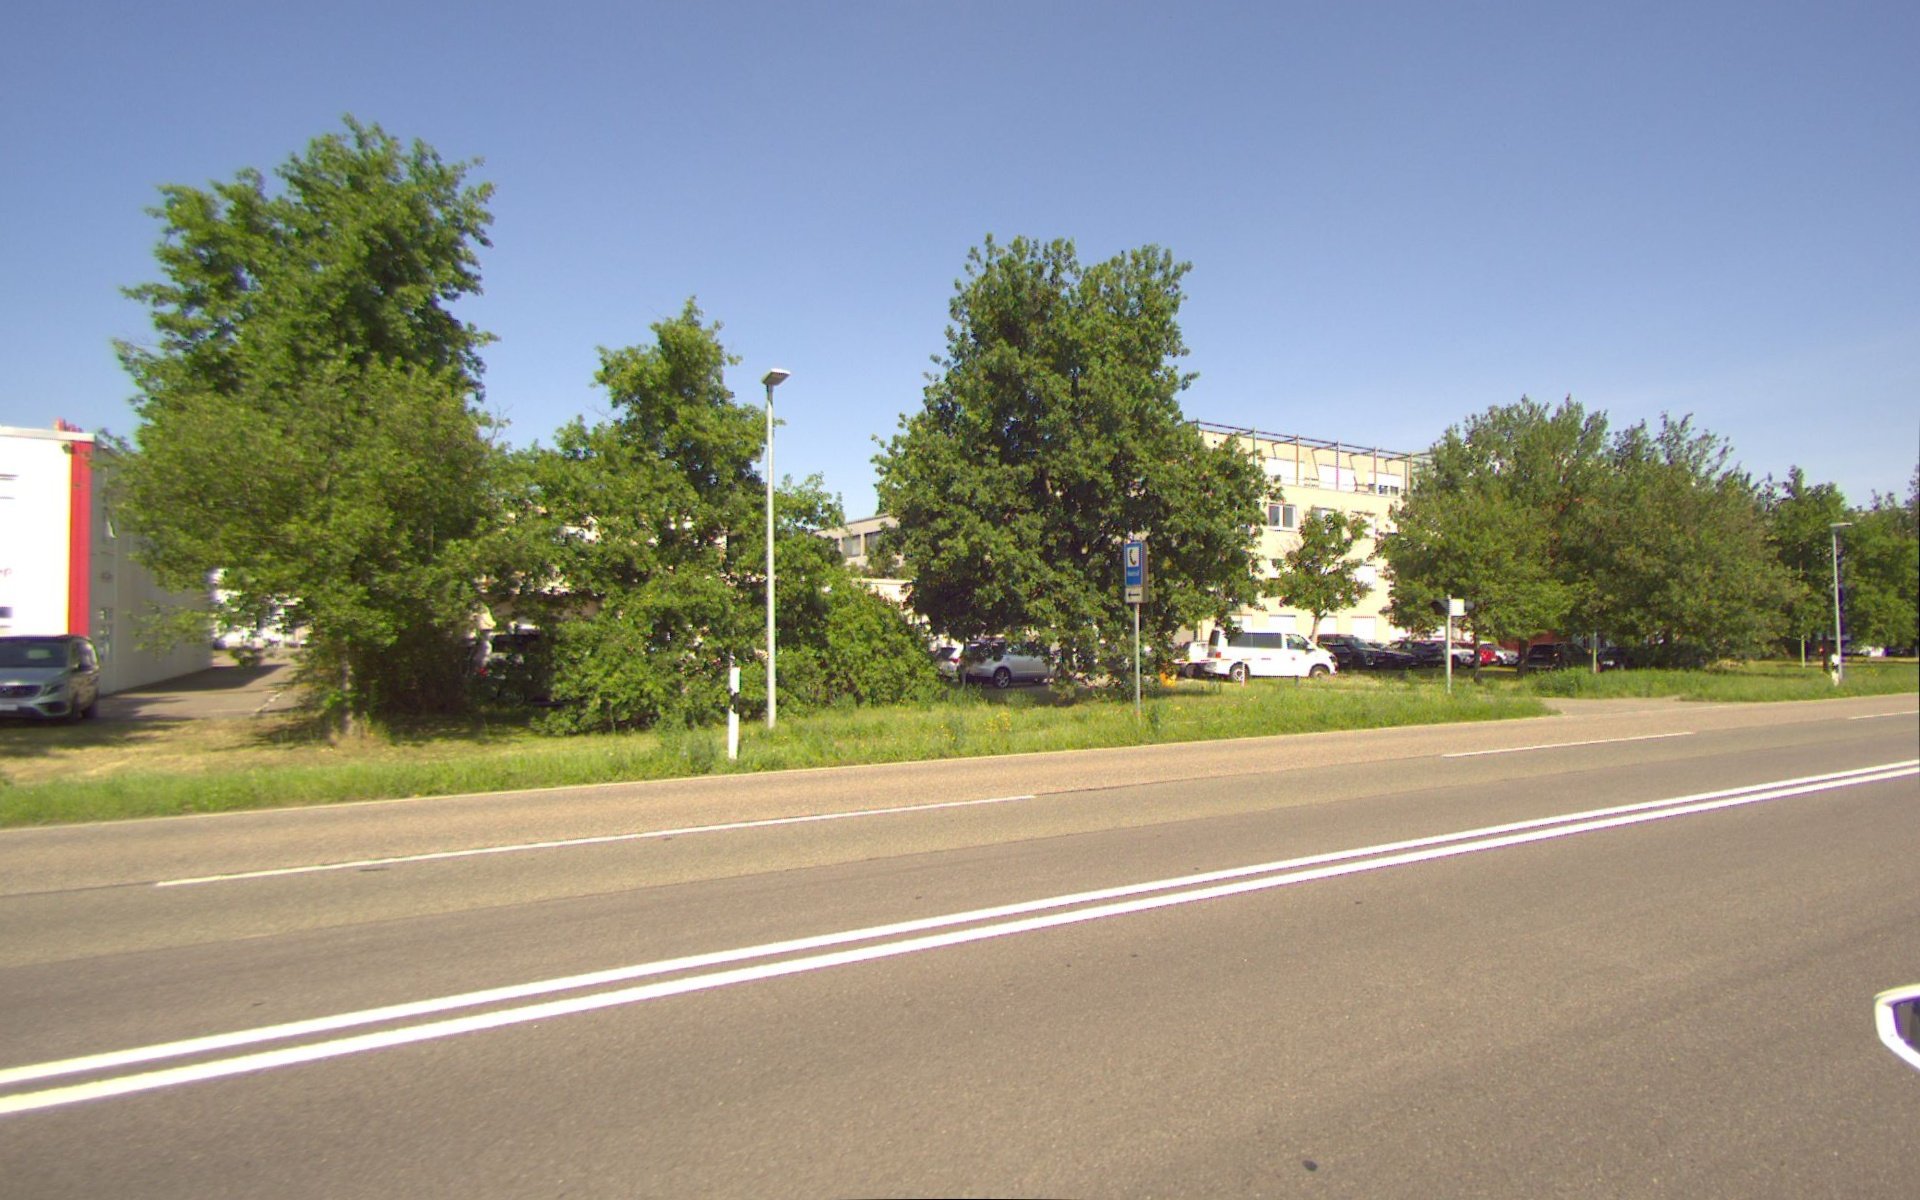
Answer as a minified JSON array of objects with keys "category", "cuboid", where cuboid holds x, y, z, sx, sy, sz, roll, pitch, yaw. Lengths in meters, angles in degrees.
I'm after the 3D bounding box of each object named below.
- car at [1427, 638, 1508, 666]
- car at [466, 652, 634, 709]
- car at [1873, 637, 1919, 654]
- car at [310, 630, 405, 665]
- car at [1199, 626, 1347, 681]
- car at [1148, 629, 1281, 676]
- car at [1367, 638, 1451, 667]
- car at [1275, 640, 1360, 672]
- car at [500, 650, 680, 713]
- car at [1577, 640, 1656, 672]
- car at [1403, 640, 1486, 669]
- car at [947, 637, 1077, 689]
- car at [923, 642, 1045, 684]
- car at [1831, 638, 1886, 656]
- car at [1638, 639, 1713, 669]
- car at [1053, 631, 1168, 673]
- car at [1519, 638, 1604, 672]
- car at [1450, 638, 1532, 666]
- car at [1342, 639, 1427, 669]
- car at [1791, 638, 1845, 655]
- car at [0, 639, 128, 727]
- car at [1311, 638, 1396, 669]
[{"category":"car","cuboid":[29.982,3.029,59.460,1.722,1.557,3.967,1,-2,-31]},{"category":"car","cuboid":[-10.927,2.100,26.822,3.954,1.368,1.664,1,-2,-31]},{"category":"car","cuboid":[84.836,4.137,90.984,4.556,1.456,1.984,1,-2,-31]},{"category":"car","cuboid":[-32.446,2.550,54.224,3.932,1.684,1.994,1,1,-14]},{"category":"car","cuboid":[11.687,1.969,37.724,4.916,1.954,2.074,1,-1,0]},{"category":"car","cuboid":[10.323,2.126,41.038,4.916,1.830,2.074,1,-1,0]},{"category":"car","cuboid":[25.362,2.942,56.853,1.866,1.557,3.967,1,-2,-31]},{"category":"car","cuboid":[18.704,2.926,52.736,1.866,1.557,3.967,1,-2,-31]},{"category":"car","cuboid":[-9.108,1.963,24.809,3.954,1.368,1.664,1,-2,-31]},{"category":"car","cuboid":[34.780,2.914,53.204,4.496,1.599,1.735,1,-2,-31]},{"category":"car","cuboid":[27.676,3.083,57.477,1.866,1.557,3.967,1,-2,-31]},{"category":"car","cuboid":[1.808,2.124,34.690,4.145,1.673,1.919,1,-2,-32]},{"category":"car","cuboid":[0.907,2.267,36.858,4.145,1.412,1.919,1,-2,-32]},{"category":"car","cuboid":[76.577,3.988,85.588,4.894,1.456,1.985,1,-2,-29]},{"category":"car","cuboid":[40.173,3.020,56.373,4.496,1.599,1.735,1,-2,-31]},{"category":"car","cuboid":[6.803,2.348,45.762,4.916,1.830,2.074,1,-1,0]},{"category":"car","cuboid":[30.189,2.724,50.370,4.496,1.599,1.735,1,-2,-31]},{"category":"car","cuboid":[31.977,3.095,60.600,1.722,1.606,4.115,1,-2,-31]},{"category":"car","cuboid":[23.225,2.933,55.109,1.866,1.557,3.967,1,-2,-31]},{"category":"car","cuboid":[74.798,4.055,87.544,4.894,1.456,1.985,1,-2,-29]},{"category":"car","cuboid":[-19.873,1.771,21.864,1.977,1.753,4.204,1,-4,-30]},{"category":"car","cuboid":[21.065,2.820,53.910,1.866,1.557,3.967,1,-2,-31]}]
